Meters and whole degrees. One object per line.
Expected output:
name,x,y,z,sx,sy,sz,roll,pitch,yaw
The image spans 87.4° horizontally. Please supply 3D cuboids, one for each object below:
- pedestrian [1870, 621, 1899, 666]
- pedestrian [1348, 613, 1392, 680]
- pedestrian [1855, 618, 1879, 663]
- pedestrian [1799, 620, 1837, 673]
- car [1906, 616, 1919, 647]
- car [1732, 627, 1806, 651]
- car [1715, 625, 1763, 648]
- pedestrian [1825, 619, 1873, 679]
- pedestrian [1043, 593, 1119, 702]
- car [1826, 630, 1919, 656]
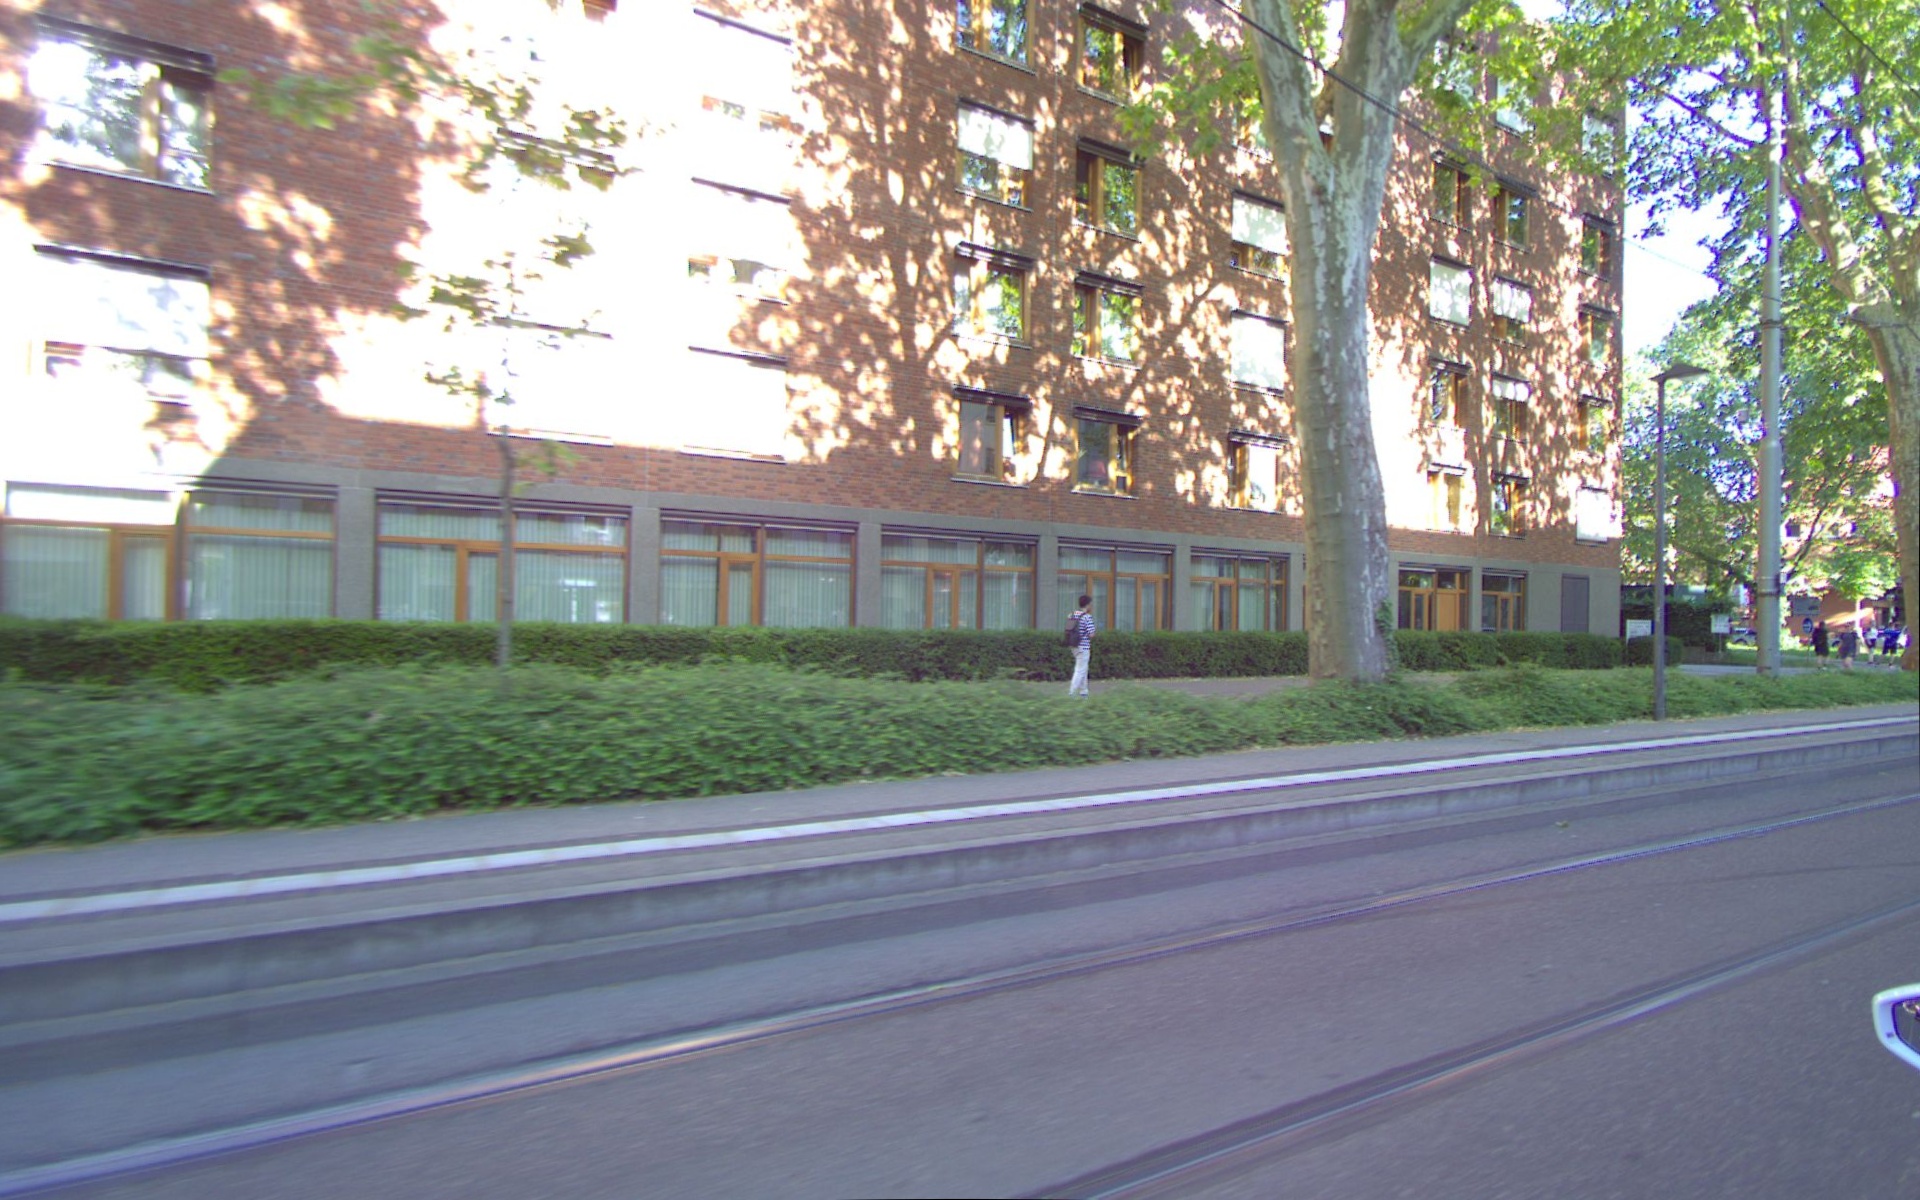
pedestrian,35.095,1.634,38.138,0.685,1.681,0.561,2,0,34
pedestrian,9.976,1.118,24.439,0.707,1.594,0.661,2,0,-30
pedestrian,35.539,1.594,39.363,0.523,1.728,0.591,2,0,29
pedestrian,28.364,1.534,33.204,0.770,1.695,0.706,2,0,-30
car,66.986,2.213,69.220,4.879,2.030,1.977,2,0,-40
car,56.321,2.722,70.003,1.672,1.469,3.683,2,0,-35
car,60.757,2.837,78.308,4.443,1.639,1.930,2,0,-38
pedestrian,25.729,1.405,29.081,0.957,1.694,0.735,2,0,-29
pedestrian,2.025,0.779,16.832,0.961,1.767,0.760,2,0,-30
car,59.381,2.752,65.254,1.807,1.469,4.434,2,0,-37
